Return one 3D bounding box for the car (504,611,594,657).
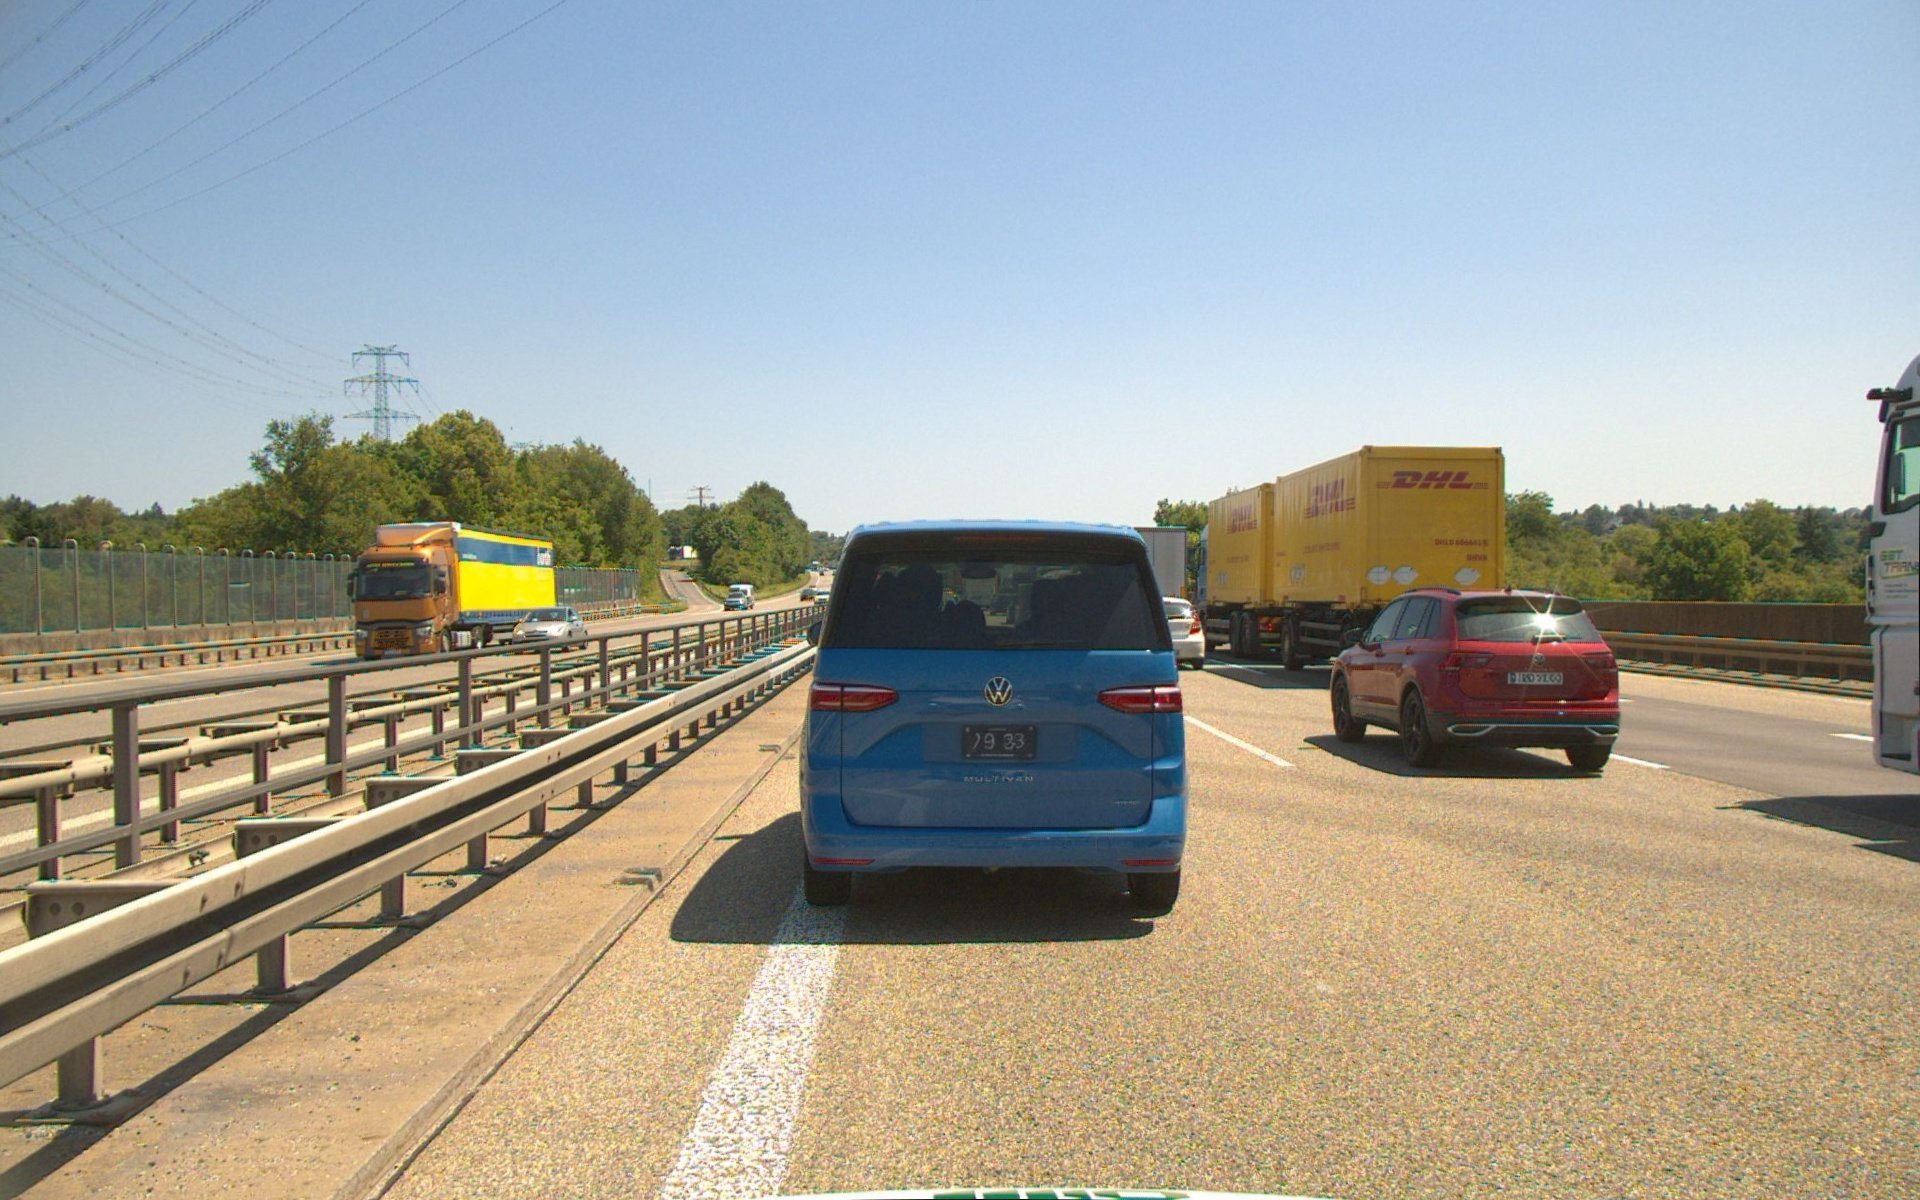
[{"bbox_3d":[-12.995,1.043,52.507,1.654,1.326,4.013,-3,0,2],"label":"car"}]

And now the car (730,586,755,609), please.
[{"bbox_3d":[-19.956,-0.239,151.727,1.805,2.077,3.942,1,0,-1],"label":"car"}]

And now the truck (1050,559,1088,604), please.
[{"bbox_3d":[6.191,-1.008,94.434,1.761,2.492,4.503,1,0,-1],"label":"truck"}]

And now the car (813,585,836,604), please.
[{"bbox_3d":[-12.613,-0.506,154.287,1.805,1.782,3.942,1,0,-1],"label":"car"}]

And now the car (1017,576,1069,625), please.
[{"bbox_3d":[3.458,0.043,69.575,1.922,1.970,3.931,1,0,-1],"label":"car"}]

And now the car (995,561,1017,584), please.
[{"bbox_3d":[4.418,-2.635,159.263,1.953,2.049,3.999,1,0,-1],"label":"car"}]

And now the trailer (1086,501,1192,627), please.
[{"bbox_3d":[7.112,-1.316,67.421,2.965,4.692,10.922,1,0,-1],"label":"trailer"}]

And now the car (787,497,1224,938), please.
[{"bbox_3d":[0.164,0.527,9.249,1.891,1.906,3.999,1,0,-1],"label":"car"}]

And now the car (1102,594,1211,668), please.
[{"bbox_3d":[4.200,0.650,35.881,1.778,1.496,3.931,1,0,-2],"label":"car"}]

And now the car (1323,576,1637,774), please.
[{"bbox_3d":[4.972,0.629,16.455,1.674,1.708,4.283,0,0,-2],"label":"car"}]

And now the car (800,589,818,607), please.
[{"bbox_3d":[-18.134,-0.249,199.136,1.805,2.077,3.942,1,0,-1],"label":"car"}]

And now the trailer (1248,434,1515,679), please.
[{"bbox_3d":[8.020,-0.721,32.837,2.629,4.159,8.976,1,0,-2],"label":"trailer"}]

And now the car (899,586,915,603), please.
[{"bbox_3d":[-6.612,-0.654,207.102,1.953,2.049,3.999,1,0,-1],"label":"car"}]

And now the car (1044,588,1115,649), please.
[{"bbox_3d":[3.472,0.531,48.787,1.778,1.708,3.931,1,0,0],"label":"car"}]

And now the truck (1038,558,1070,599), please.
[{"bbox_3d":[6.175,-1.382,108.450,1.760,2.641,4.304,1,0,-1],"label":"truck"}]

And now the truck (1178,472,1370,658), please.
[{"bbox_3d":[7.763,-0.762,42.329,2.645,4.159,9.935,1,0,-2],"label":"truck"}]

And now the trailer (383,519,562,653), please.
[{"bbox_3d":[-17.047,-0.404,59.099,2.575,4.186,14.011,0,0,-1],"label":"trailer"}]

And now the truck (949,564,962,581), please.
[{"bbox_3d":[-0.702,-4.280,258.311,1.953,2.630,4.552,1,0,-1],"label":"truck"}]

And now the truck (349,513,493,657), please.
[{"bbox_3d":[-16.910,-0.438,52.331,2.618,4.258,6.285,-1,0,-2],"label":"truck"}]

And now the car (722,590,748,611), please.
[{"bbox_3d":[-19.931,0.039,146.622,1.805,1.782,3.942,1,0,-1],"label":"car"}]

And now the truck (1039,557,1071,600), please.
[{"bbox_3d":[5.919,-1.323,103.244,1.706,2.593,4.209,1,0,-1],"label":"truck"}]

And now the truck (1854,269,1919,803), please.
[{"bbox_3d":[8.692,-0.483,7.964,2.794,4.003,10.606,1,0,-2],"label":"truck"}]

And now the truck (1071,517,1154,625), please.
[{"bbox_3d":[7.003,-1.255,76.871,2.965,4.692,7.919,1,0,-1],"label":"truck"}]
